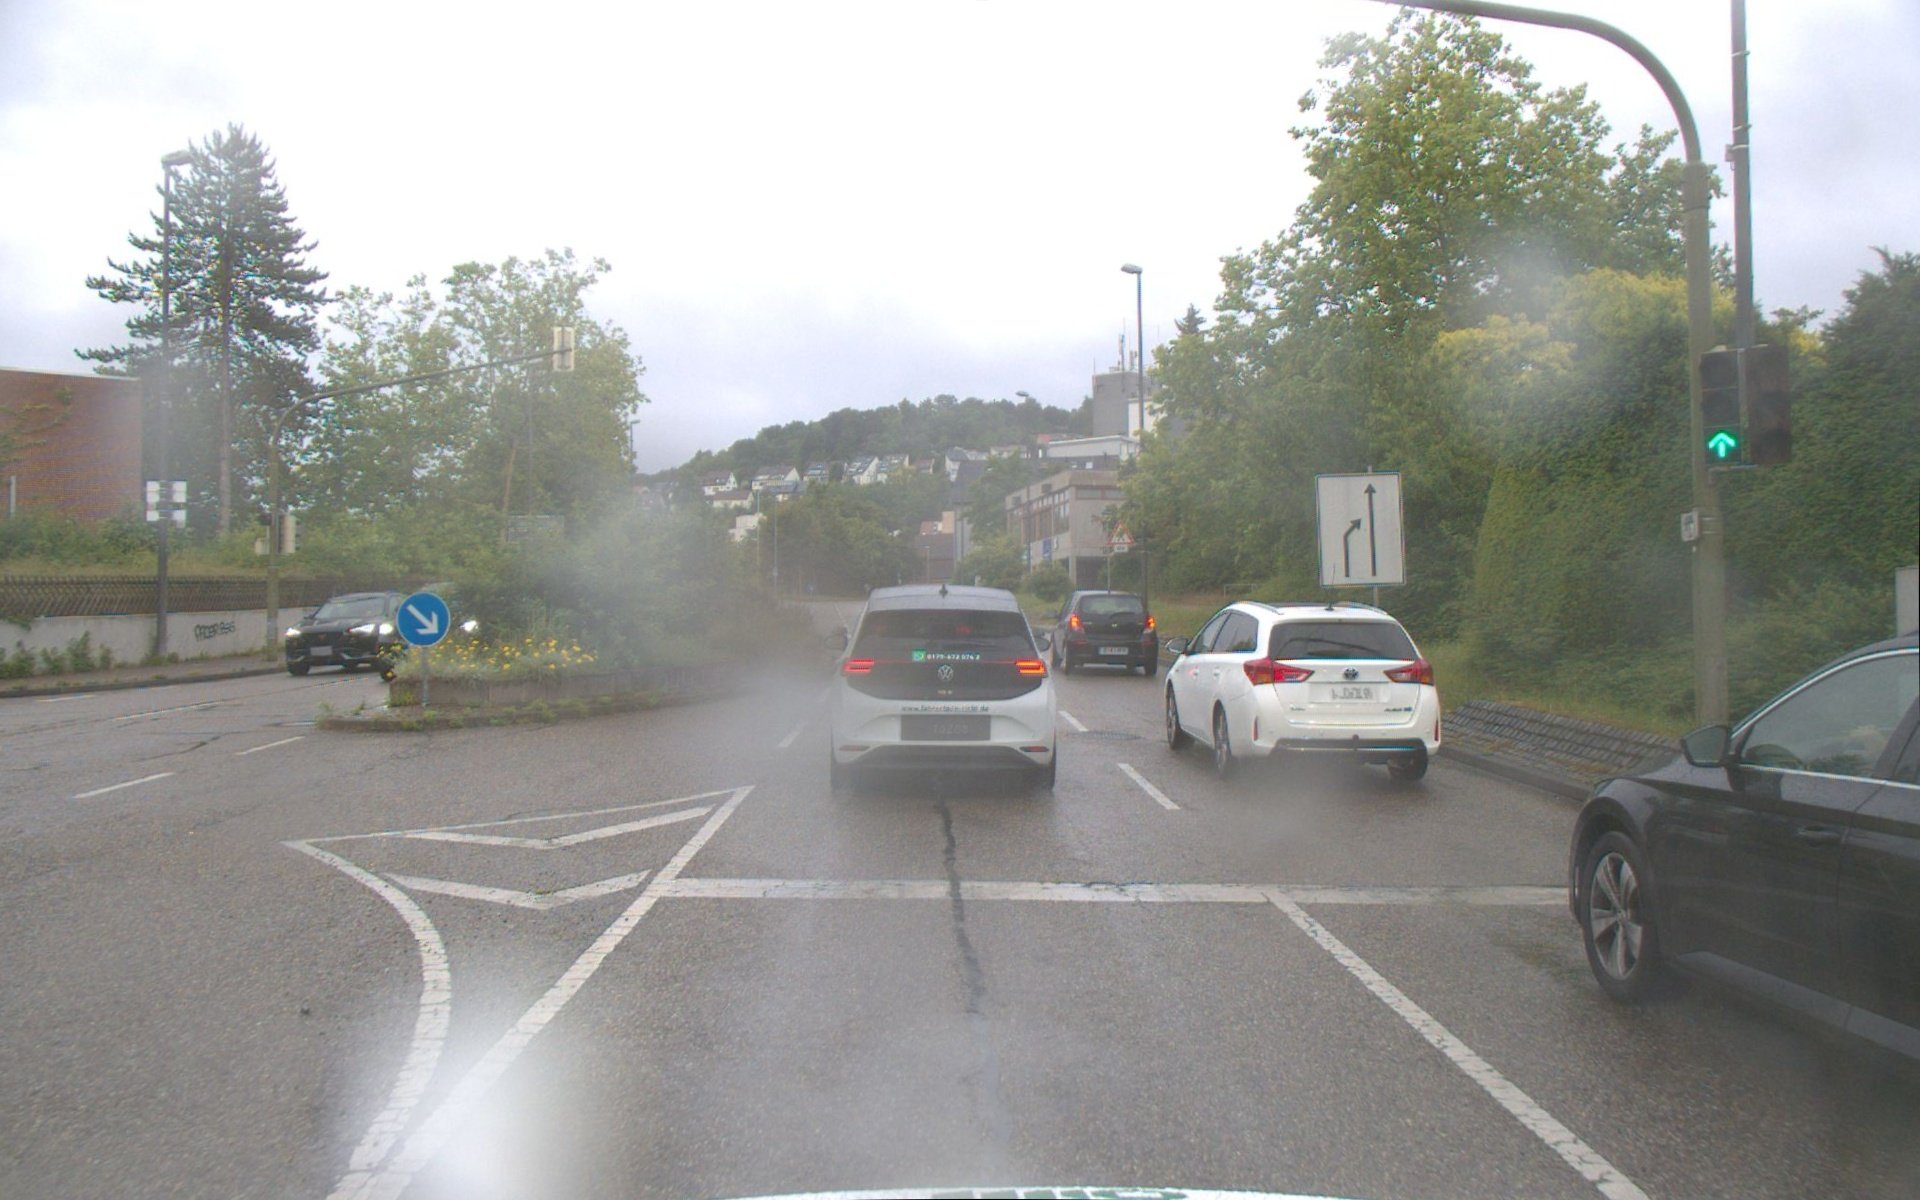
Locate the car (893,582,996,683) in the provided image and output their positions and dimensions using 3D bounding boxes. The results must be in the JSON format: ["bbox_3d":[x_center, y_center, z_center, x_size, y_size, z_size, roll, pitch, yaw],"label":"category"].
[{"bbox_3d":[-0.318,0.485,27.735,1.536,1.556,3.997,0,1,-3],"label":"car"}]

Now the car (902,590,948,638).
[{"bbox_3d":[-1.552,0.636,73.684,1.953,2.049,3.999,1,-1,-1],"label":"car"}]

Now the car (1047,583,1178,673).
[{"bbox_3d":[2.746,0.492,30.538,1.953,1.478,3.770,-2,0,-1],"label":"car"}]

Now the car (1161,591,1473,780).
[{"bbox_3d":[2.997,0.668,14.794,1.810,1.434,4.300,0,0,-1],"label":"car"}]

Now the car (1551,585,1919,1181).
[{"bbox_3d":[3.449,0.768,4.587,1.914,1.534,4.608,2,0,0],"label":"car"}]

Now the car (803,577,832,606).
[{"bbox_3d":[-10.573,-0.617,122.634,1.954,2.049,3.997,1,-1,-3],"label":"car"}]

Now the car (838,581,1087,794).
[{"bbox_3d":[-0.013,0.645,14.018,1.791,1.526,4.167,0,0,-1],"label":"car"}]

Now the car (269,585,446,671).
[{"bbox_3d":[-11.744,0.527,32.560,1.910,1.504,4.295,-2,0,-1],"label":"car"}]
